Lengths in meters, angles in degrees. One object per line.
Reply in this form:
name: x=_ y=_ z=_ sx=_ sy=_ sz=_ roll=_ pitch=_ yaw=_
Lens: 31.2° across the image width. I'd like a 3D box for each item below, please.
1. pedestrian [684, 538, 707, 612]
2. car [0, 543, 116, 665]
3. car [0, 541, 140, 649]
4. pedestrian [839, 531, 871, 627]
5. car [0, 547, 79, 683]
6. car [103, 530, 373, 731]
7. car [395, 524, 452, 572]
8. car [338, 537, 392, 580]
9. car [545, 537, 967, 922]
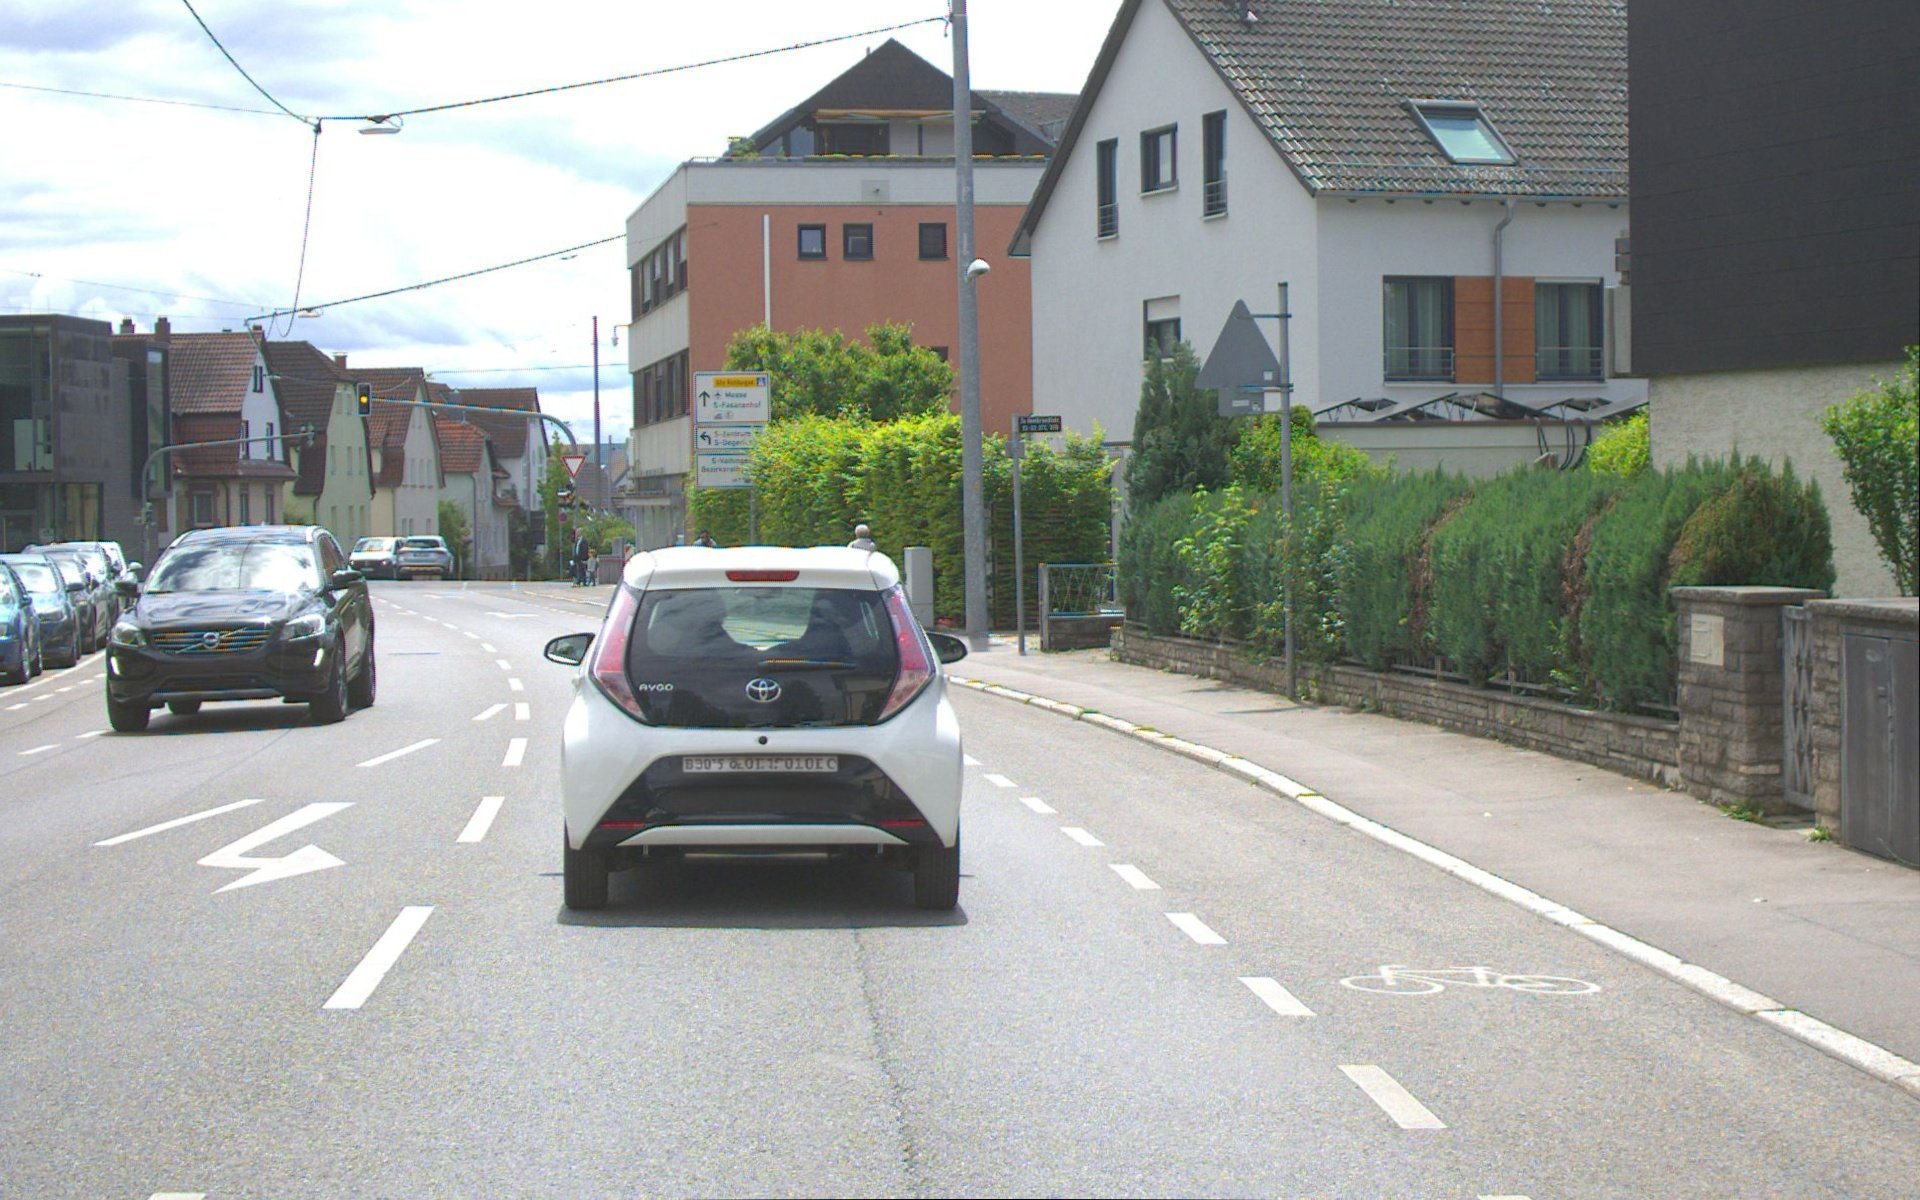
pedestrian: x=-5.120 y=-0.483 z=66.514 sx=0.413 sy=1.433 sz=0.438 roll=0 pitch=1 yaw=-8
car: x=-12.541 y=0.018 z=46.209 sx=1.794 sy=1.505 sz=4.001 roll=1 pitch=1 yaw=-6
car: x=-13.486 y=-0.106 z=51.598 sx=1.794 sy=1.505 sz=4.001 roll=1 pitch=1 yaw=-6
pedestrian: x=-1.574 y=-0.317 z=51.627 sx=0.413 sy=1.433 sz=0.438 roll=0 pitch=1 yaw=-12
car: x=-11.777 y=0.135 z=41.137 sx=1.794 sy=1.505 sz=4.001 roll=1 pitch=1 yaw=-6
car: x=-6.103 y=0.207 z=29.442 sx=1.774 sy=1.547 sz=4.009 roll=-2 pitch=1 yaw=-5
car: x=-19.395 y=-1.875 z=124.153 sx=1.993 sy=1.678 sz=4.001 roll=1 pitch=1 yaw=-9
car: x=-24.106 y=-1.708 z=139.428 sx=1.993 sy=1.678 sz=4.001 roll=1 pitch=1 yaw=-8
car: x=-0.974 y=0.482 z=15.301 sx=1.621 sy=1.481 sz=4.001 roll=0 pitch=1 yaw=-5
